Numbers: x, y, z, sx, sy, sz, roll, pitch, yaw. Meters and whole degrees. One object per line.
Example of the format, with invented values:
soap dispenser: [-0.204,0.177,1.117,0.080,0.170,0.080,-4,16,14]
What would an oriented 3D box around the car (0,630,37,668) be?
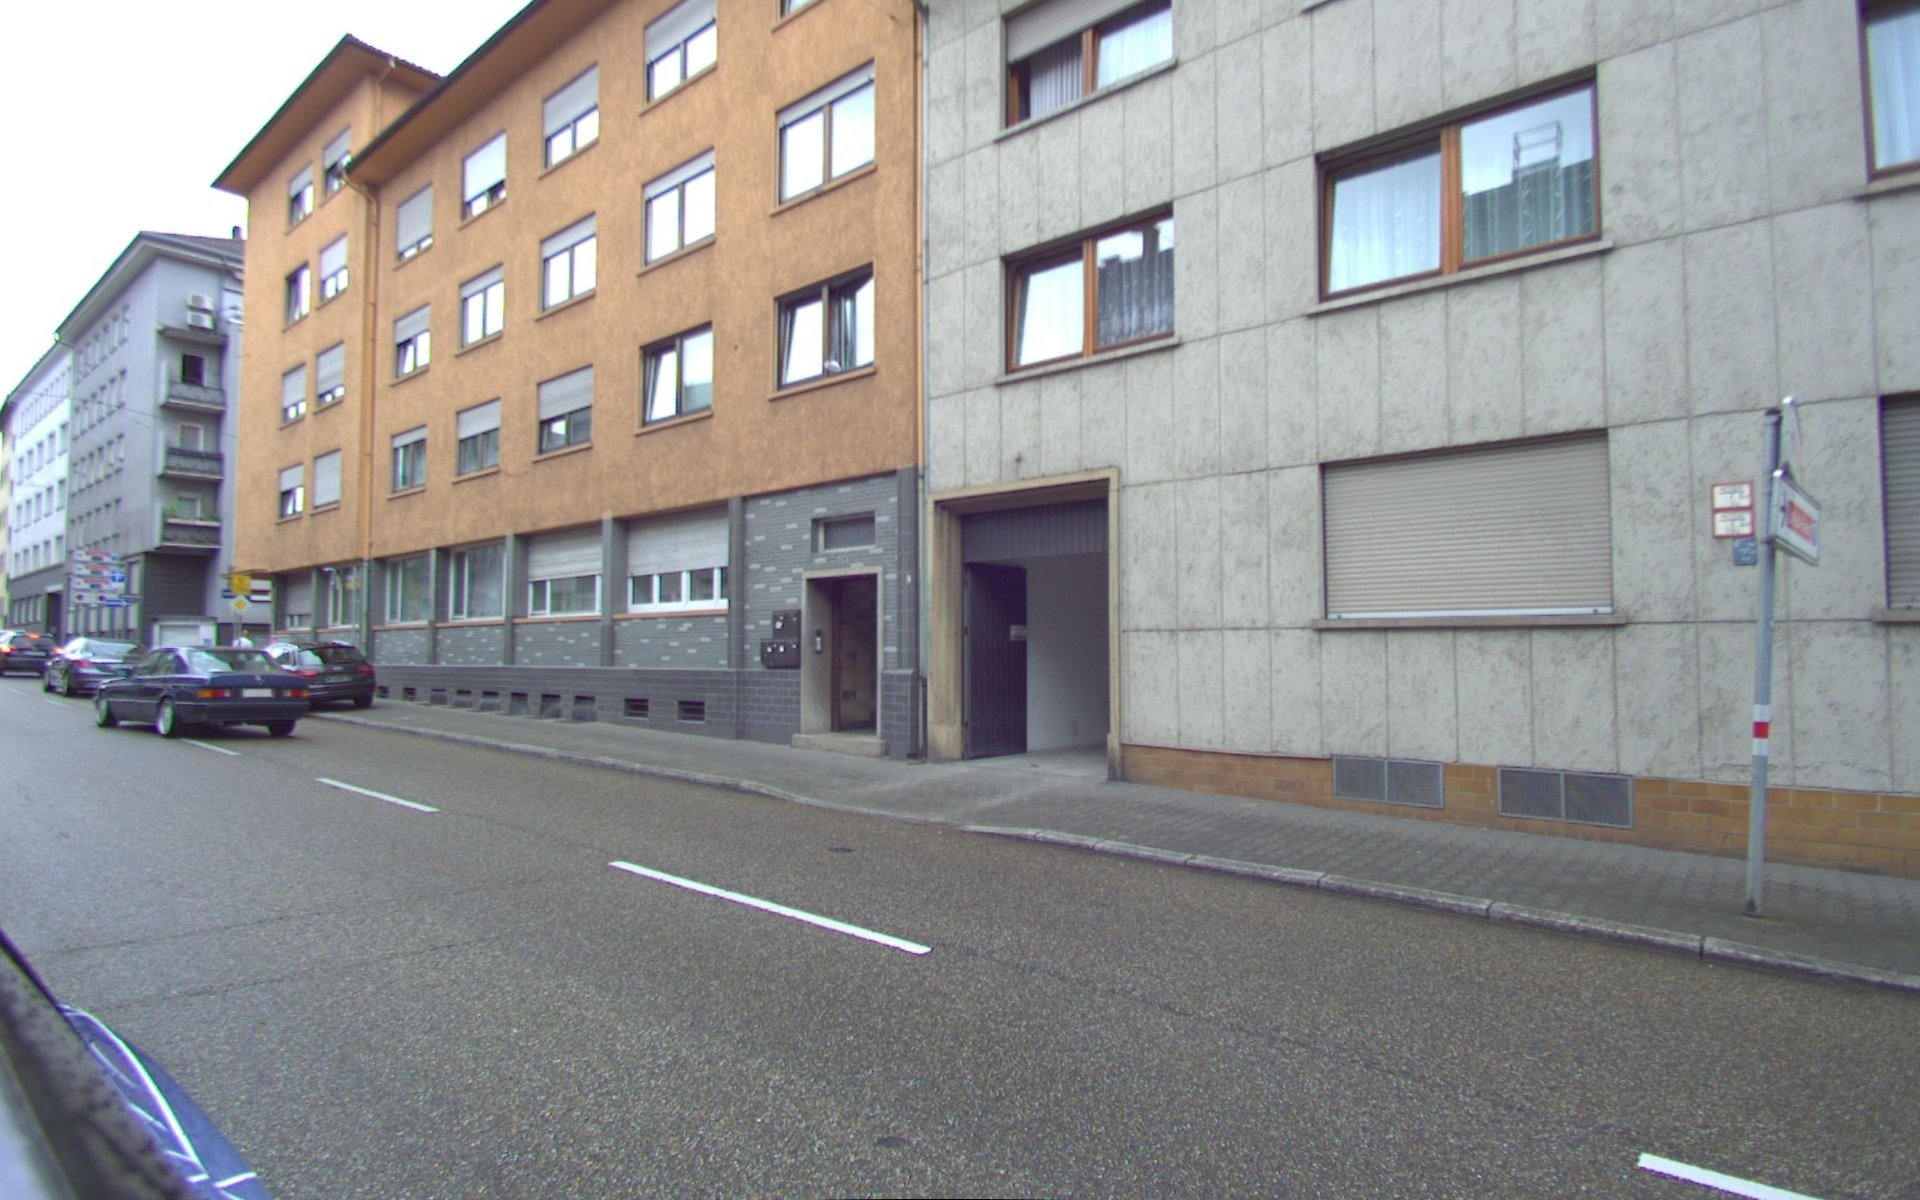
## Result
car: [-46.492,2.363,49.288,4.216,1.735,1.832,-1,0,41]

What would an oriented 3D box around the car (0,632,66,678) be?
car: [-32.207,1.863,34.621,4.370,1.484,1.705,-2,-5,40]

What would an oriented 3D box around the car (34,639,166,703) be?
car: [-21.381,1.747,25.107,4.362,1.381,1.678,-1,-5,40]

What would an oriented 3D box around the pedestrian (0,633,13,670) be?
pedestrian: [-54.232,2.902,56.931,1.257,2.029,1.292,-1,0,41]

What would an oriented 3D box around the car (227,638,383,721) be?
car: [-14.265,1.638,21.953,4.216,1.485,1.776,-1,0,41]

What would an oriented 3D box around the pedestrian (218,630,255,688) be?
pedestrian: [-21.398,1.734,29.927,0.757,1.652,1.024,-1,0,-44]

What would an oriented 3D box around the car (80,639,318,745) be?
car: [-11.973,1.379,15.841,4.351,1.381,1.585,0,-5,34]

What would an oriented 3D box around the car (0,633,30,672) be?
car: [-41.167,2.157,43.037,4.433,1.551,1.677,-1,-6,40]
